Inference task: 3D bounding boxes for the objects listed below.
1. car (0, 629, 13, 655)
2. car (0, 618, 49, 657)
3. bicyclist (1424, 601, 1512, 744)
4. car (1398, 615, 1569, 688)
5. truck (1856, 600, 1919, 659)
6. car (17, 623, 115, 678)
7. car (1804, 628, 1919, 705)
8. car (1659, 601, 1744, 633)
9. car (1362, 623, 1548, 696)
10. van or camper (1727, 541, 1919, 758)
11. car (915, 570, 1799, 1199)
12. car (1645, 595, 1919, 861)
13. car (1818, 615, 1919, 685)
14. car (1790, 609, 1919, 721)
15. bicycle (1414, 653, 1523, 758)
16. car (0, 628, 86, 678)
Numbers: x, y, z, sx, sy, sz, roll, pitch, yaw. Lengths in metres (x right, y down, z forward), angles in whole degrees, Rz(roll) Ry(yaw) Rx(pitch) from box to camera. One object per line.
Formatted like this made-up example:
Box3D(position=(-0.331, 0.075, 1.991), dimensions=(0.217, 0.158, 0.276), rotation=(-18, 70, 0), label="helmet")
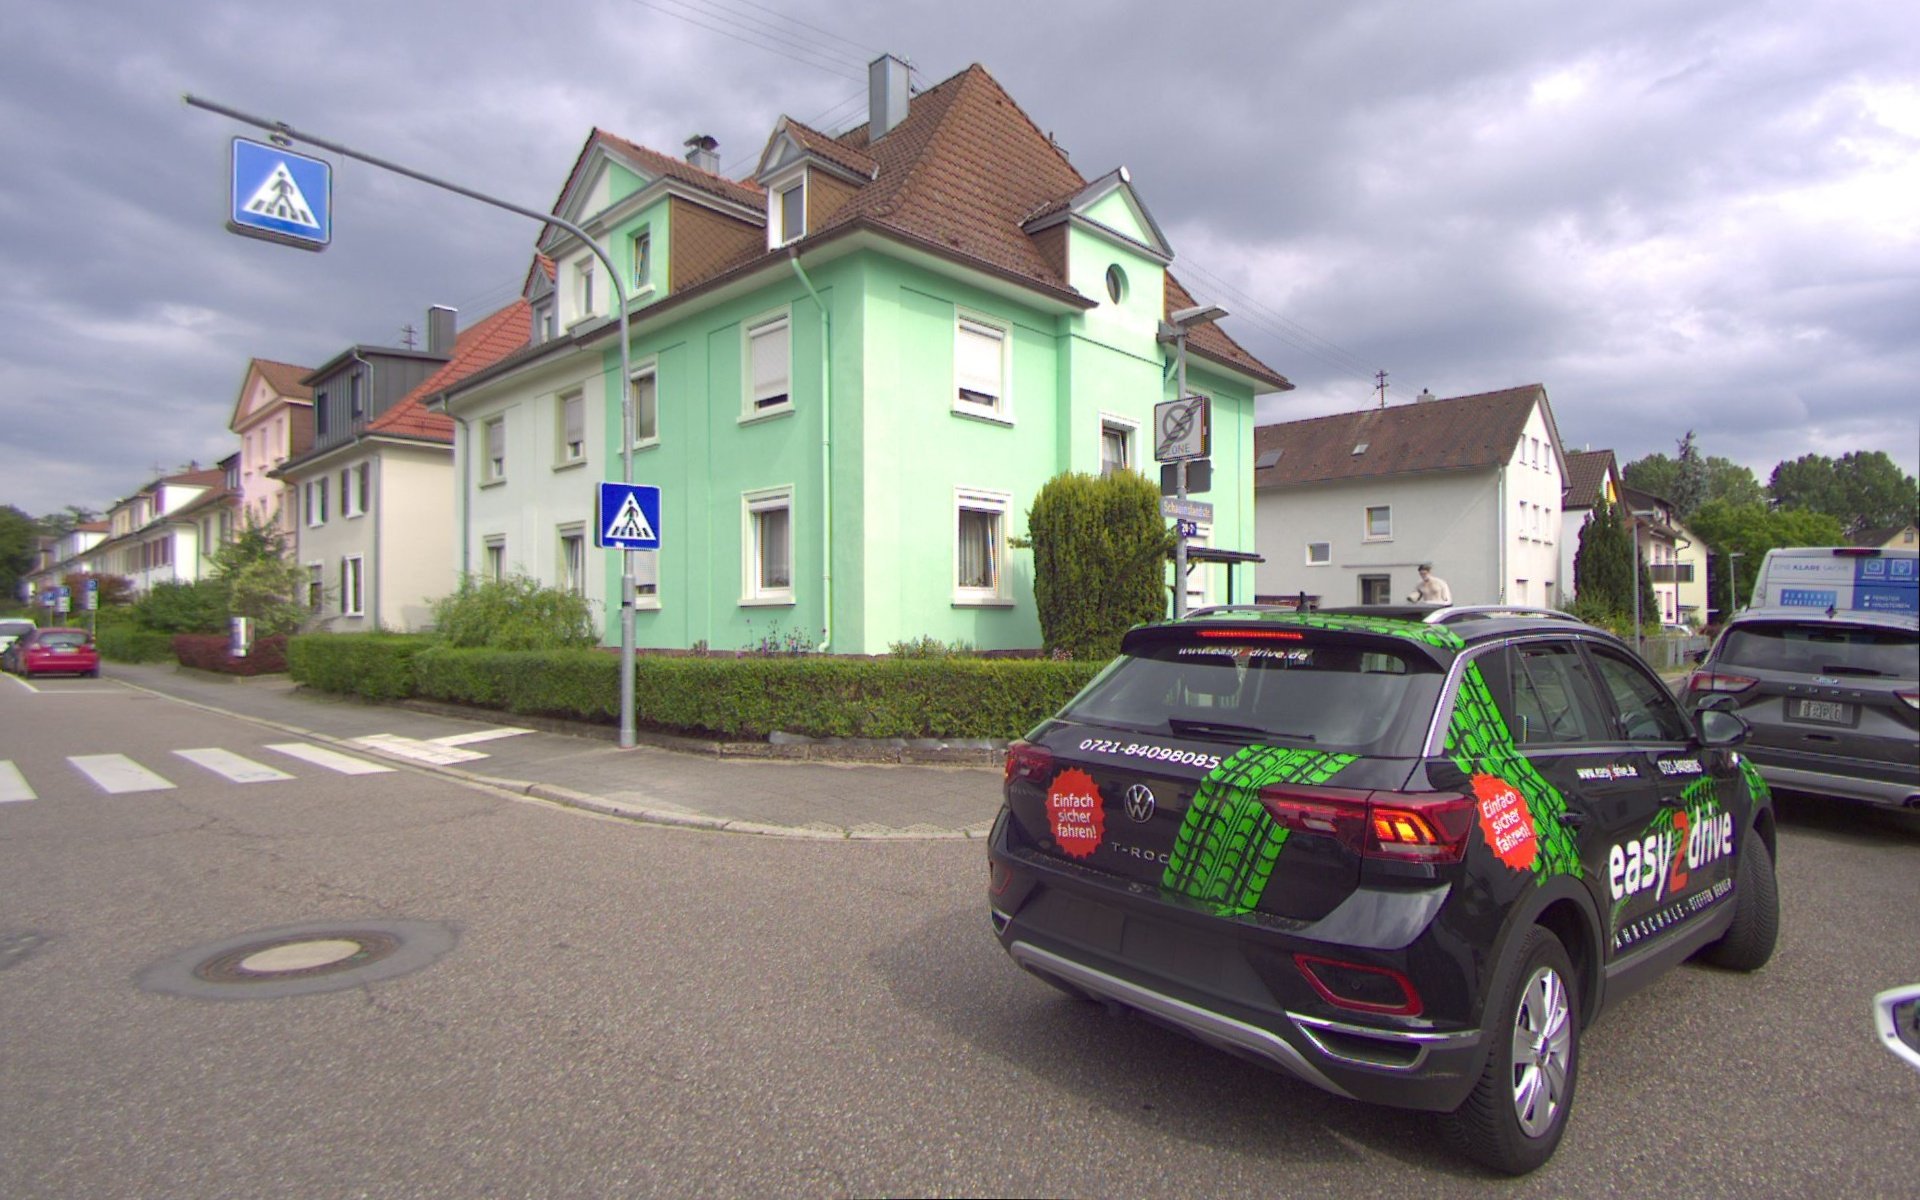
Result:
Box3D(position=(-59.288, 2.555, 61.279), dimensions=(3.945, 1.595, 1.988), rotation=(-1, -2, 44), label="car")
Box3D(position=(-47.696, 1.876, 50.893), dimensions=(3.945, 1.929, 1.988), rotation=(-1, -2, 44), label="car")
Box3D(position=(6.310, 0.880, 12.473), dimensions=(0.689, 1.688, 0.969), rotation=(-3, -3, 44), label="bicyclist")
Box3D(position=(12.951, 1.245, 24.933), dimensions=(3.529, 1.689, 1.580), rotation=(-1, -2, 40), label="car")
Box3D(position=(43.952, 1.378, 47.637), dimensions=(2.106, 2.692, 4.561), rotation=(-1, -1, 41), label="truck")
Box3D(position=(-27.926, 1.531, 31.341), dimensions=(3.945, 1.595, 1.988), rotation=(-1, -2, 44), label="car")
Box3D(position=(19.654, 1.358, 21.806), dimensions=(1.971, 1.475, 4.320), rotation=(-1, -1, 41), label="car")
Box3D(position=(43.810, 1.029, 59.405), dimensions=(3.941, 1.795, 1.861), rotation=(-1, -3, 41), label="car")
Box3D(position=(11.202, 1.297, 22.816), dimensions=(3.529, 1.520, 1.580), rotation=(-1, -2, 40), label="car")
Box3D(position=(12.219, 0.614, 13.840), dimensions=(2.168, 2.491, 5.026), rotation=(-1, -1, 43), label="van or camper")
Box3D(position=(1.936, 0.772, 4.137), dimensions=(4.013, 1.540, 1.800), rotation=(2, -2, -42), label="car")
Box3D(position=(7.344, 0.879, 8.598), dimensions=(1.971, 1.749, 4.320), rotation=(-1, -1, 41), label="car")
Box3D(position=(25.082, 1.319, 27.812), dimensions=(1.971, 1.772, 4.320), rotation=(-1, -1, 41), label="car")
Box3D(position=(16.273, 1.073, 18.081), dimensions=(1.971, 1.795, 4.320), rotation=(-1, -1, 41), label="car")
Box3D(position=(6.360, 1.262, 12.510), dimensions=(0.697, 1.167, 1.862), rotation=(-2, -2, 43), label="bicycle")
Box3D(position=(-31.785, 1.785, 34.757), dimensions=(3.945, 1.595, 1.988), rotation=(-1, -2, 44), label="car")
